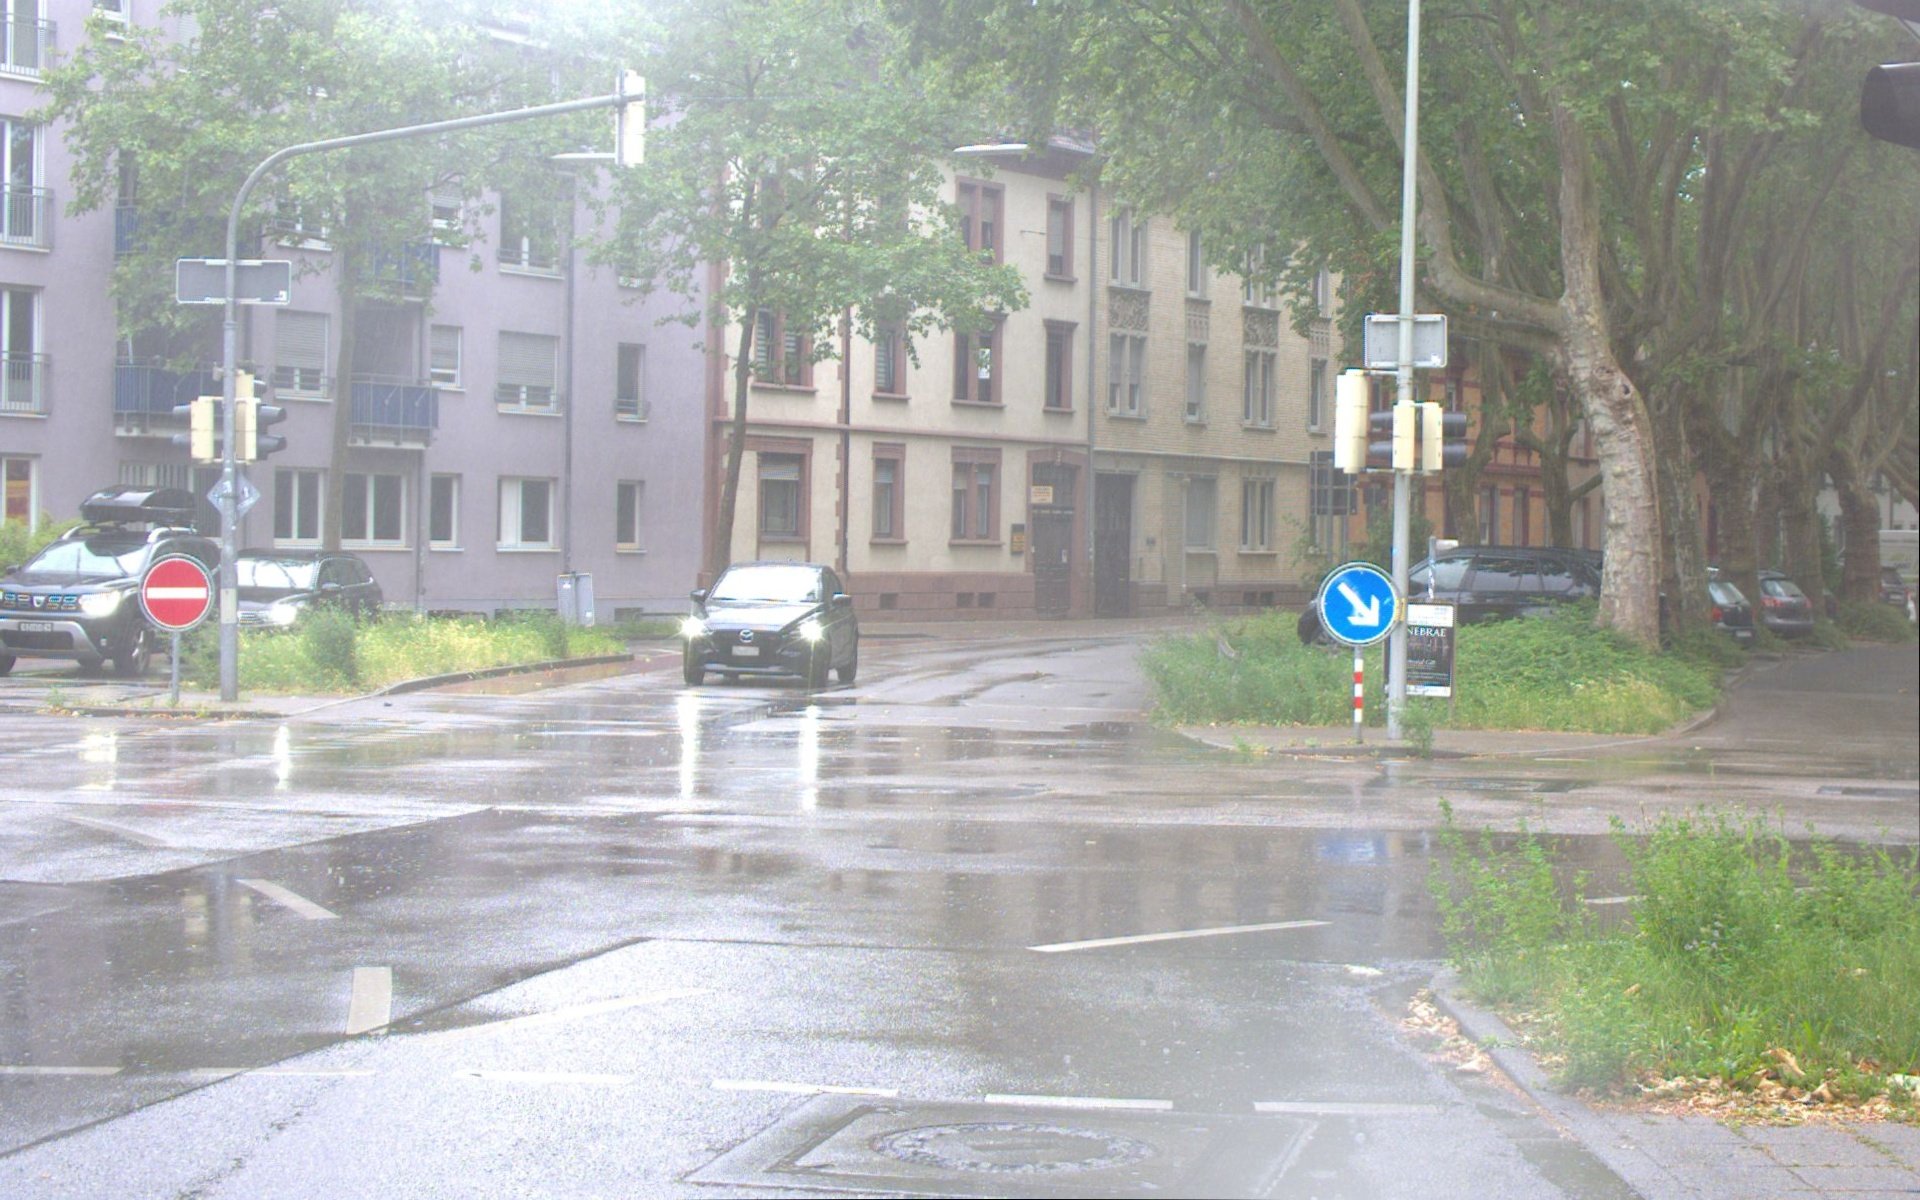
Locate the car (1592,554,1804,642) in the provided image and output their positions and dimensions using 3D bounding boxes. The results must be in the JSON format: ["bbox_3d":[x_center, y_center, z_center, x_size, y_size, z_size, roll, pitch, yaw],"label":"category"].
[{"bbox_3d":[14.012,-0.043,65.267,3.611,1.612,1.679,0,1,28],"label":"car"}]

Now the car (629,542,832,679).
[{"bbox_3d":[-2.730,0.095,41.555,1.603,1.547,3.558,0,1,10],"label":"car"}]

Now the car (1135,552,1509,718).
[{"bbox_3d":[3.490,0.324,33.008,3.480,1.518,1.519,0,1,9],"label":"car"}]

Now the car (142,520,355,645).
[{"bbox_3d":[-9.197,-0.258,44.688,1.725,1.547,3.559,-1,1,5],"label":"car"}]

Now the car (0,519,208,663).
[{"bbox_3d":[-9.886,-0.131,38.779,1.725,1.547,3.559,-1,1,5],"label":"car"}]
